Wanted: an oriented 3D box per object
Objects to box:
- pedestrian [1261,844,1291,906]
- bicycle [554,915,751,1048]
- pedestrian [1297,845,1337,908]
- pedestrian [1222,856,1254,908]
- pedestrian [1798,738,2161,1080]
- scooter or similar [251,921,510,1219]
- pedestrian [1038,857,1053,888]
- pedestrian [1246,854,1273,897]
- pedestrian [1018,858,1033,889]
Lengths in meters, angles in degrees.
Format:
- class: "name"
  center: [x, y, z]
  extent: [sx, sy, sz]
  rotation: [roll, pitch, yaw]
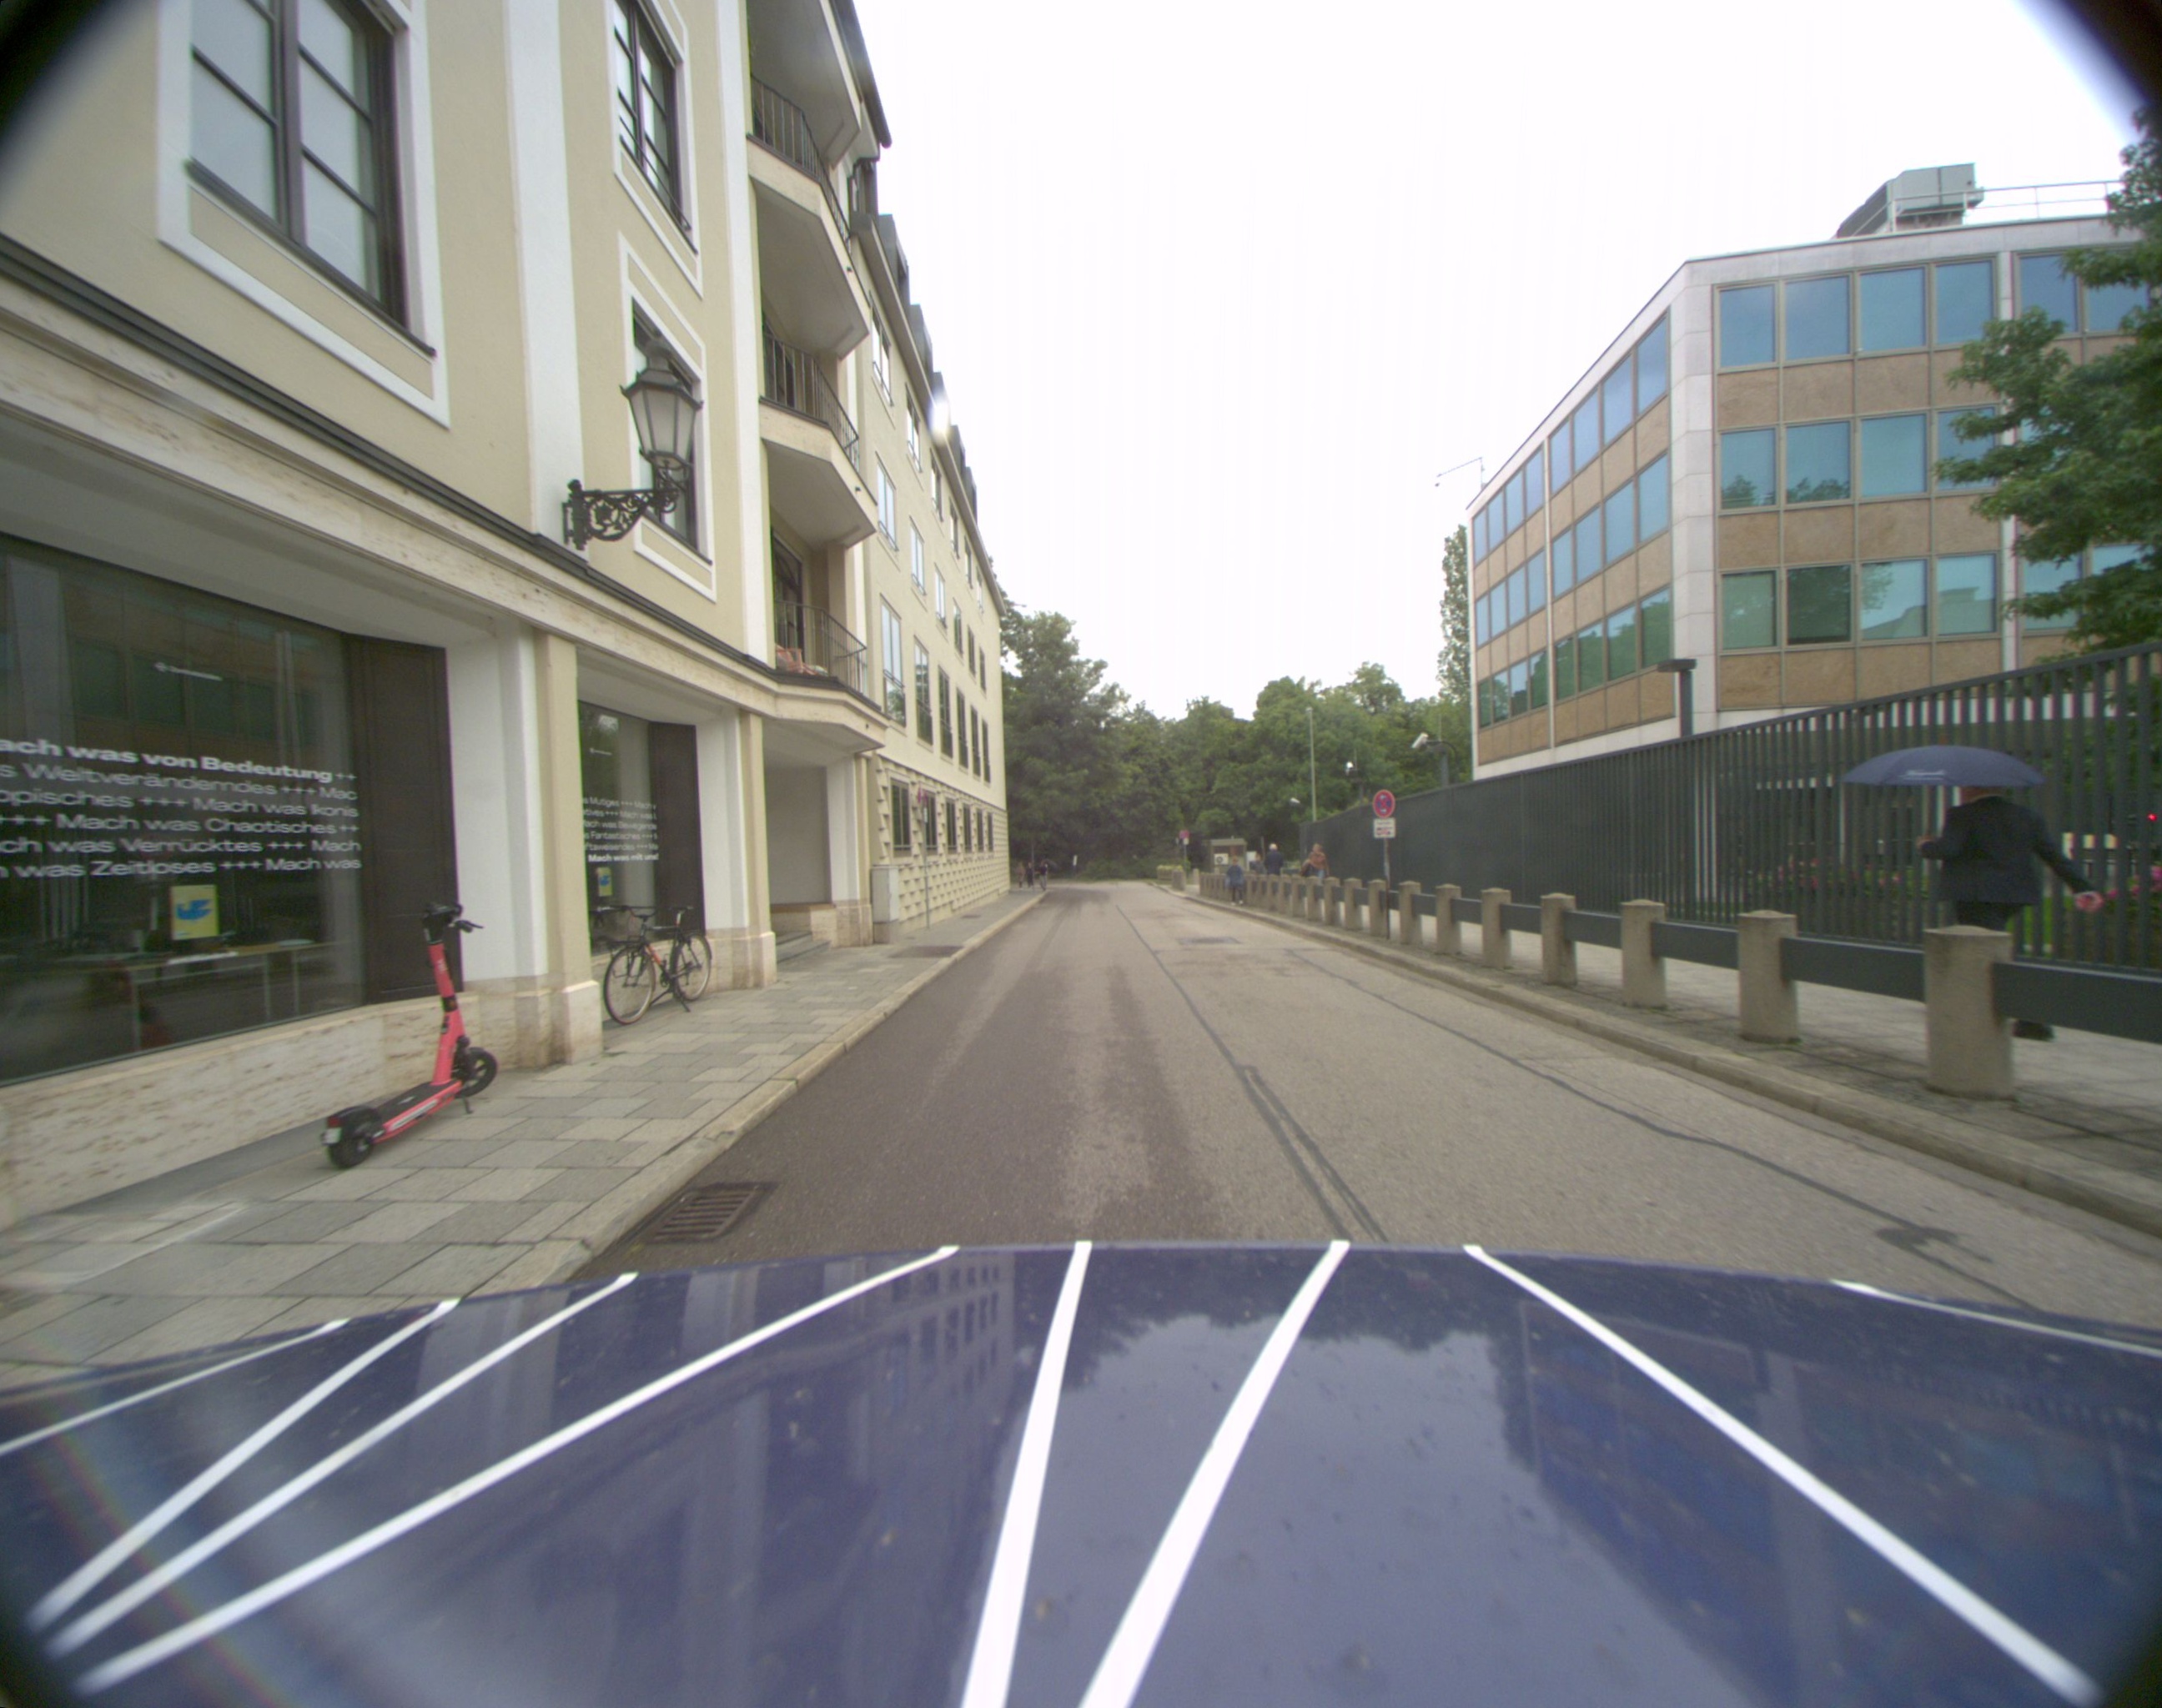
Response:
- class: "pedestrian"
  center: [5.731, 0.607, 22.345]
  extent: [0.625, 1.758, 0.766]
  rotation: [-2, 0, 0]
- class: "bicycle"
  center: [-4.137, 1.177, 7.564]
  extent: [0.464, 0.988, 2.080]
  rotation: [-1, -1, 11]
- class: "pedestrian"
  center: [6.755, 0.623, 21.765]
  extent: [0.826, 1.713, 0.906]
  rotation: [-4, 0, 6]
- class: "pedestrian"
  center: [4.612, 0.818, 22.416]
  extent: [0.640, 1.459, 1.079]
  rotation: [-4, 0, 1]
- class: "pedestrian"
  center: [6.139, 0.351, 5.273]
  extent: [1.226, 2.092, 1.117]
  rotation: [-2, 0, 3]
- class: "scooter or similar"
  center: [-3.752, 1.064, 4.198]
  extent: [0.466, 1.251, 1.275]
  rotation: [0, 1, -13]
- class: "pedestrian"
  center: [-1.958, 1.020, 42.436]
  extent: [0.753, 1.726, 0.853]
  rotation: [-2, 0, -1]
- class: "pedestrian"
  center: [6.616, 0.794, 28.193]
  extent: [0.778, 1.531, 0.933]
  rotation: [-4, 0, 8]
- class: "pedestrian"
  center: [-3.070, 1.067, 41.904]
  extent: [0.753, 1.671, 0.656]
  rotation: [-2, 0, -1]
